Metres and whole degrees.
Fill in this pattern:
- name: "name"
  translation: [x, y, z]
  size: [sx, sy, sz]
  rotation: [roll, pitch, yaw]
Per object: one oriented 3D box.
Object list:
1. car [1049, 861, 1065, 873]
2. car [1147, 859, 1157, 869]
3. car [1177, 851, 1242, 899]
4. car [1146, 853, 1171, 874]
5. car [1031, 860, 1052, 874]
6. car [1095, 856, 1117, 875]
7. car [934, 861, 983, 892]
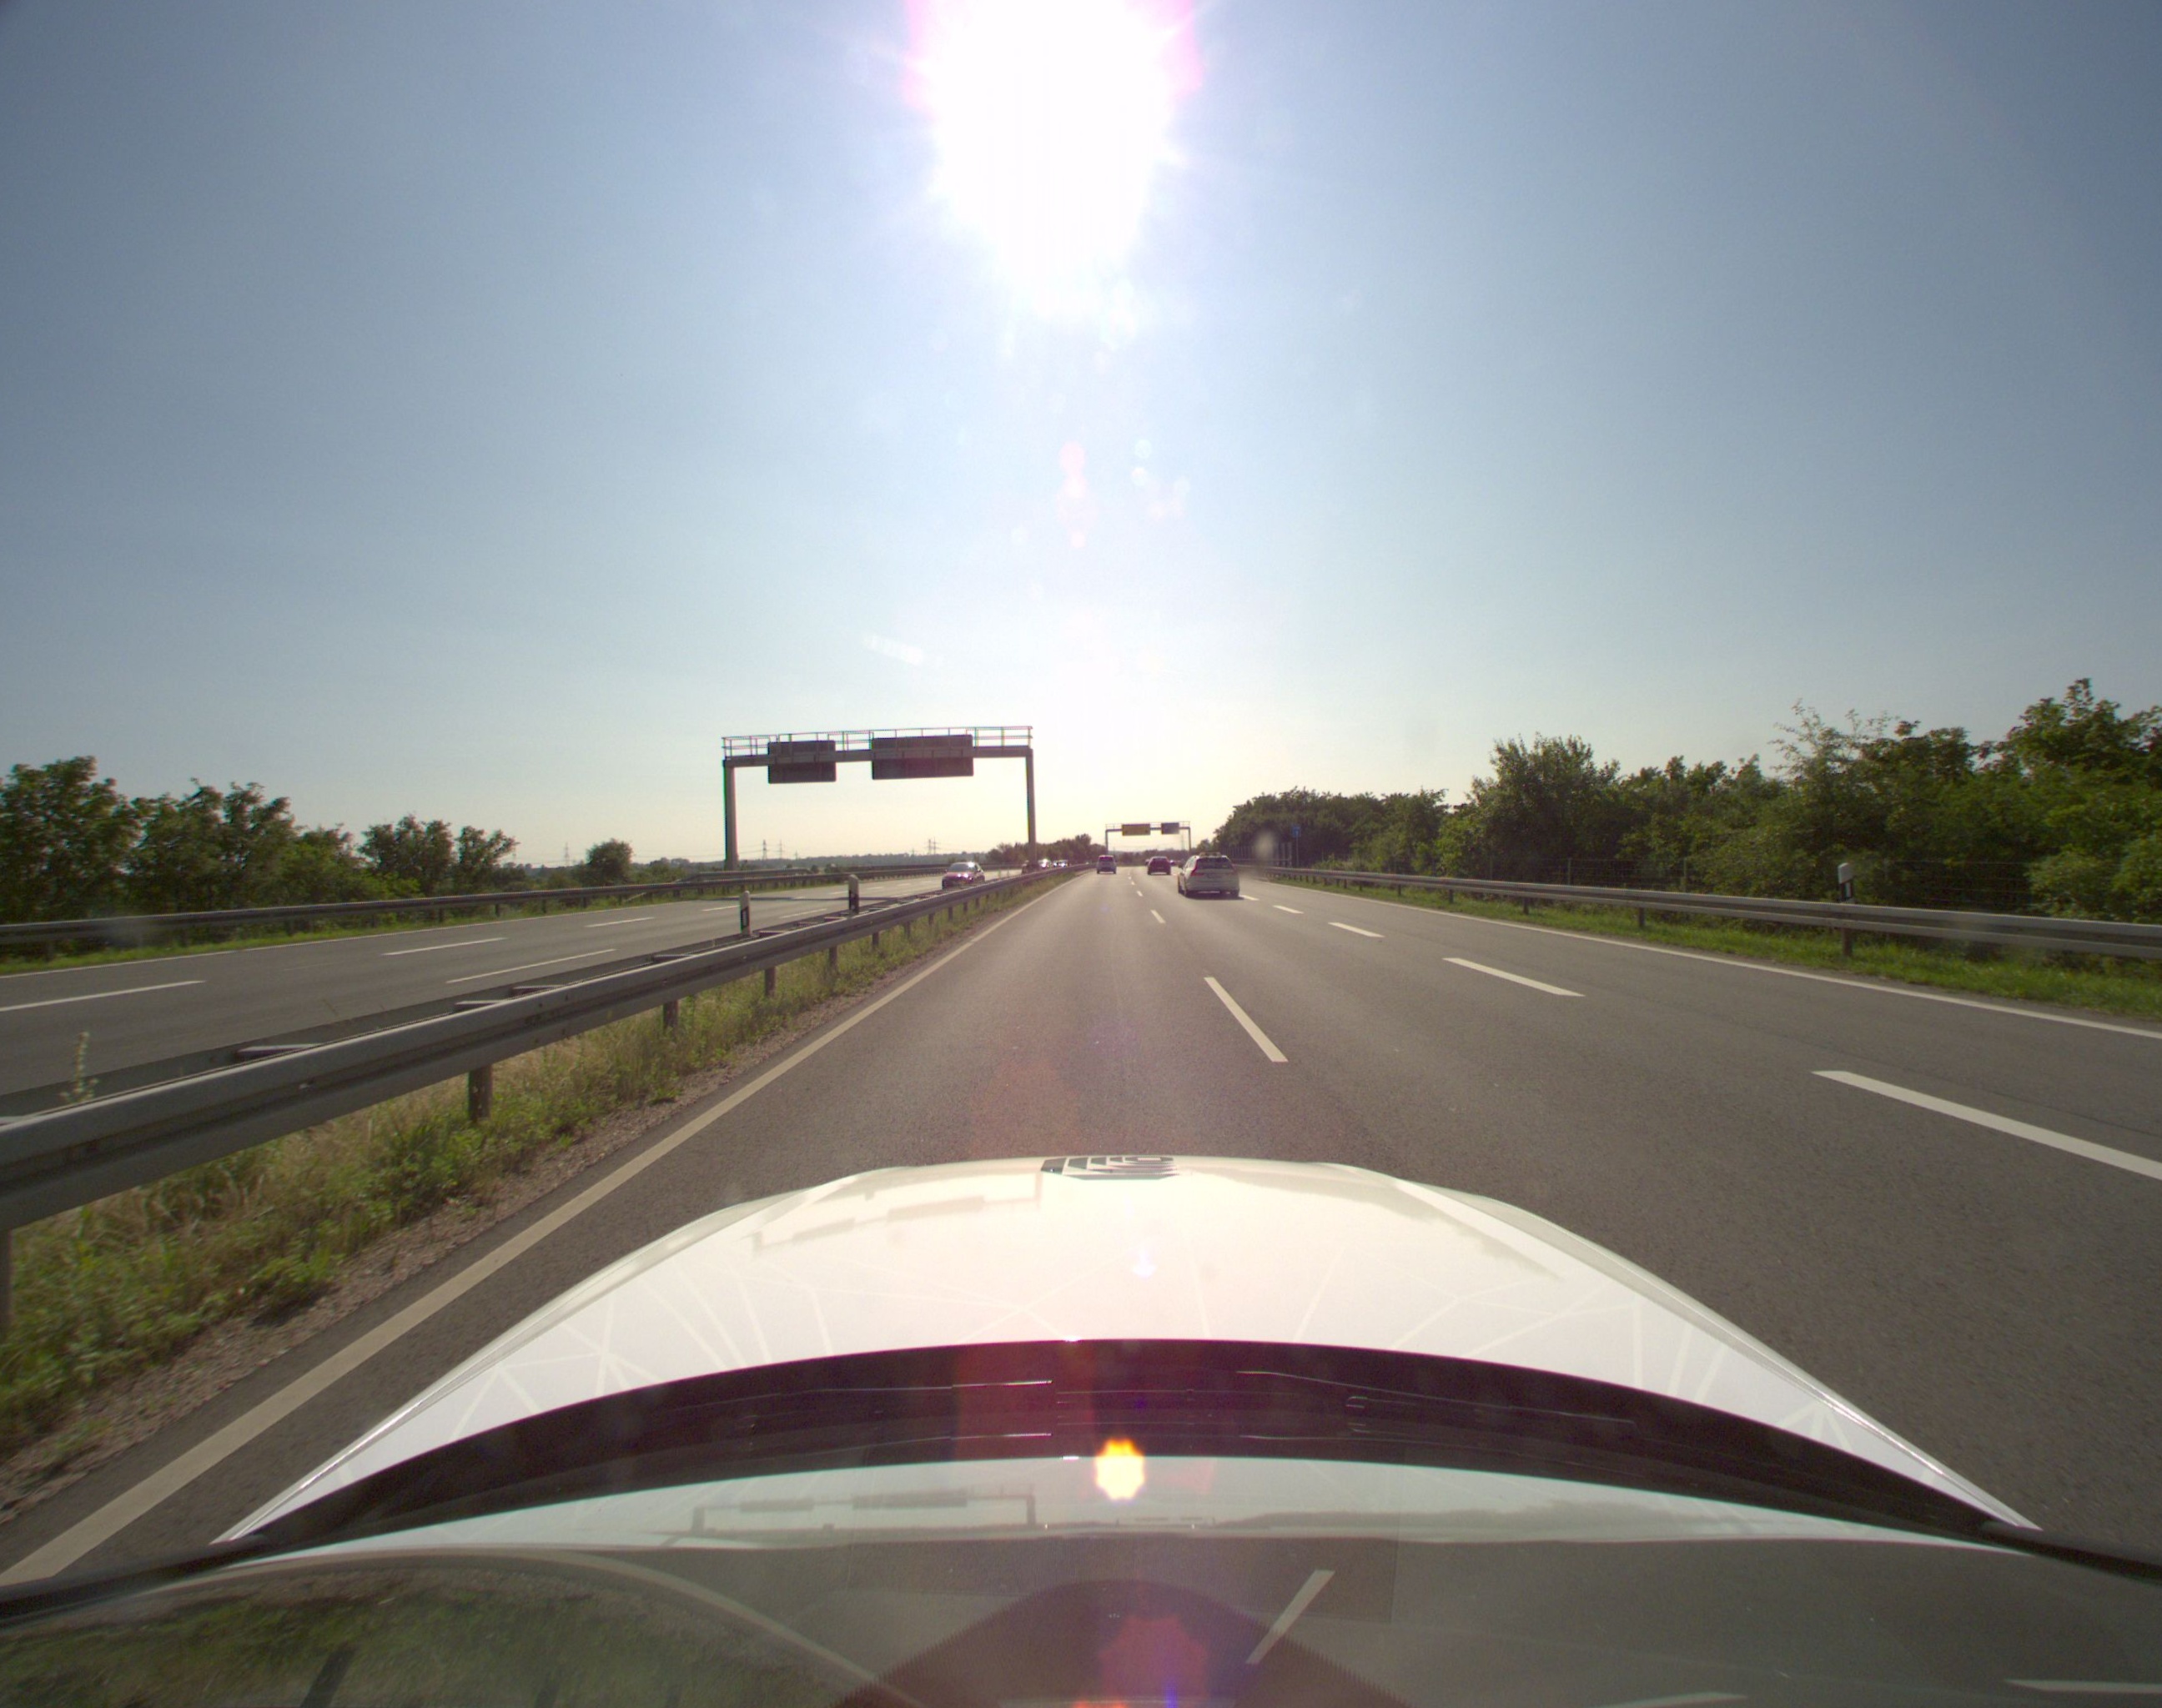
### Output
- name: "car"
  translation: [-3.131, 1.670, 106.679]
  size: [1.866, 1.438, 4.504]
  rotation: [0, 0, 2]
- name: "car"
  translation: [15.593, 2.186, 178.947]
  size: [1.984, 2.014, 4.005]
  rotation: [0, 0, 5]
- name: "car"
  translation: [4.567, 0.716, 29.512]
  size: [1.950, 1.601, 4.110]
  rotation: [0, 0, 3]
- name: "car"
  translation: [6.065, 0.769, 64.140]
  size: [1.786, 1.543, 3.674]
  rotation: [0, -1, 3]
- name: "car"
  translation: [-4.256, 1.434, 88.740]
  size: [1.787, 1.473, 4.004]
  rotation: [0, 0, 4]
- name: "car"
  translation: [2.170, 0.976, 69.821]
  size: [1.785, 1.503, 4.046]
  rotation: [-2, -1, 4]
- name: "car"
  translation: [-6.125, 1.095, 41.147]
  size: [1.704, 1.486, 4.267]
  rotation: [0, 0, 1]
